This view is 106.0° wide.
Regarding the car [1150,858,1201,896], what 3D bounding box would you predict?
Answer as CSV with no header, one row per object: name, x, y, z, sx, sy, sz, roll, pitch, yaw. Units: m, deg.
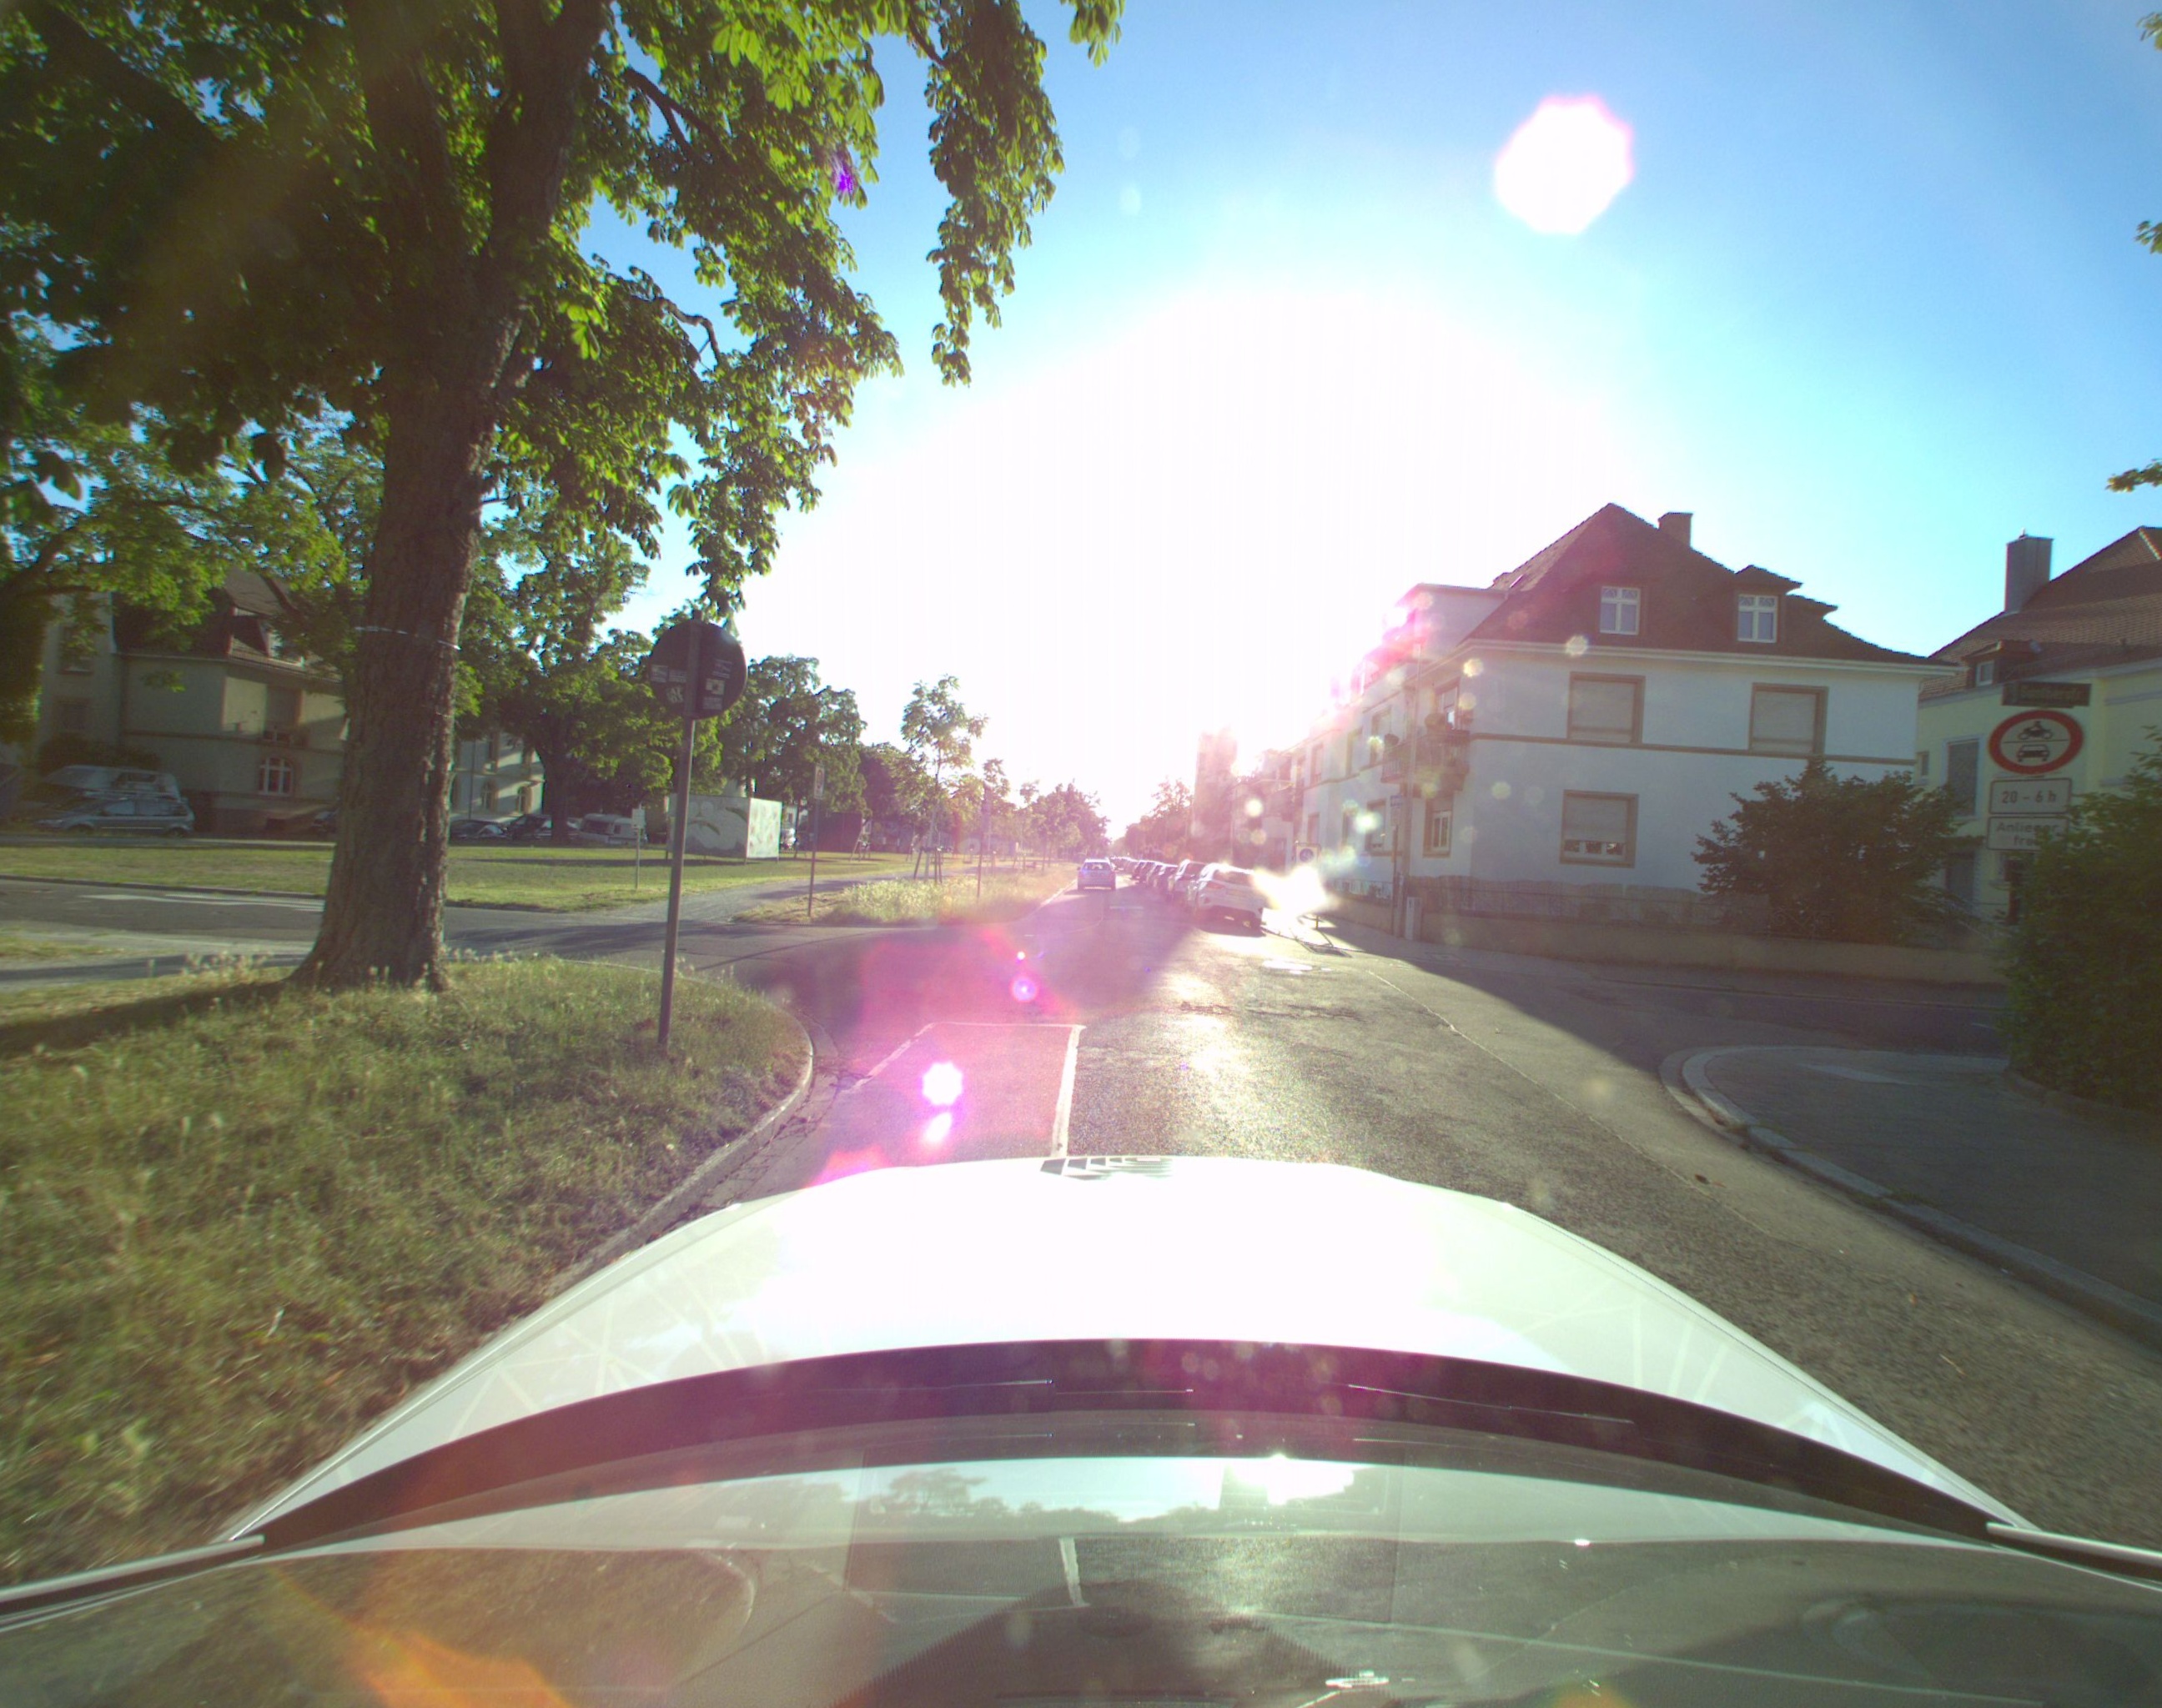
car,4.349,1.016,37.923,1.755,1.419,4.000,8,0,0

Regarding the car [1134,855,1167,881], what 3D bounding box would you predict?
car,4.542,0.877,53.548,1.755,1.521,4.000,5,0,0

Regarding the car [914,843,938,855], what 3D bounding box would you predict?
car,-29.974,-0.902,157.903,3.147,2.148,6.114,1,0,3

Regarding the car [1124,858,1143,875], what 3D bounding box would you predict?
car,5.782,1.373,90.009,1.985,1.629,4.003,3,0,3

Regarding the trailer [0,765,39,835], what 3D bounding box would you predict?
trailer,-38.597,-1.937,26.933,1.986,2.428,4.726,3,0,2

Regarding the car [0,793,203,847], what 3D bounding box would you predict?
car,-32.786,-1.081,27.378,1.678,1.559,4.317,3,0,3

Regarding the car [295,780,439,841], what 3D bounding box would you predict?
car,-38.037,-2.230,43.694,2.428,2.922,5.820,1,0,2

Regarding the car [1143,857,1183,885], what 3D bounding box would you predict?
car,4.316,0.868,43.330,1.755,1.420,4.000,0,0,0

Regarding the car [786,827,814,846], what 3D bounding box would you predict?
car,-36.345,-2.237,105.382,1.986,2.409,4.365,1,0,2

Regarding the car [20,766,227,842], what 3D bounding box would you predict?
car,-38.423,-1.891,32.956,1.986,2.672,5.190,3,0,2

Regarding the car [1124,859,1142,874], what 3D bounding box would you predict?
car,6.099,1.420,96.627,1.985,1.629,4.003,3,0,3

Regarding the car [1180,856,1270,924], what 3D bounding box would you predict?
car,3.967,0.923,23.093,1.753,1.605,4.359,3,0,0

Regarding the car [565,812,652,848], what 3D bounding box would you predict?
car,-32.084,-1.611,55.550,2.525,2.236,5.462,2,1,2

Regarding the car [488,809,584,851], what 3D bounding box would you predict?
car,-32.166,-1.364,48.308,1.986,2.250,5.189,3,0,2

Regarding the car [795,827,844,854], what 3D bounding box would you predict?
car,-30.895,-1.534,96.472,3.147,2.993,6.898,1,0,3

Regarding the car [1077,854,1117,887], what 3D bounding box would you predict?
car,0.751,0.749,38.419,1.755,1.420,4.000,-1,0,0

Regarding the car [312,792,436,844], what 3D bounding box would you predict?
car,-32.404,-1.589,37.510,1.678,2.175,4.317,3,0,3

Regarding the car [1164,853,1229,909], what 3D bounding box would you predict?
car,4.060,0.907,29.148,1.679,1.650,4.101,7,0,1

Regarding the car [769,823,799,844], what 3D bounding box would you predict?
car,-36.575,-2.463,100.372,1.986,2.409,4.365,1,0,2

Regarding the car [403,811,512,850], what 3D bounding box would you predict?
car,-32.420,-1.182,42.523,1.985,1.793,4.488,3,0,3

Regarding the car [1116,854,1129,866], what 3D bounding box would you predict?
car,6.375,0.909,124.875,1.972,1.682,4.003,3,0,3

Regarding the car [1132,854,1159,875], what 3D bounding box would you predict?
car,5.046,0.826,64.091,1.985,1.464,4.003,3,0,3
